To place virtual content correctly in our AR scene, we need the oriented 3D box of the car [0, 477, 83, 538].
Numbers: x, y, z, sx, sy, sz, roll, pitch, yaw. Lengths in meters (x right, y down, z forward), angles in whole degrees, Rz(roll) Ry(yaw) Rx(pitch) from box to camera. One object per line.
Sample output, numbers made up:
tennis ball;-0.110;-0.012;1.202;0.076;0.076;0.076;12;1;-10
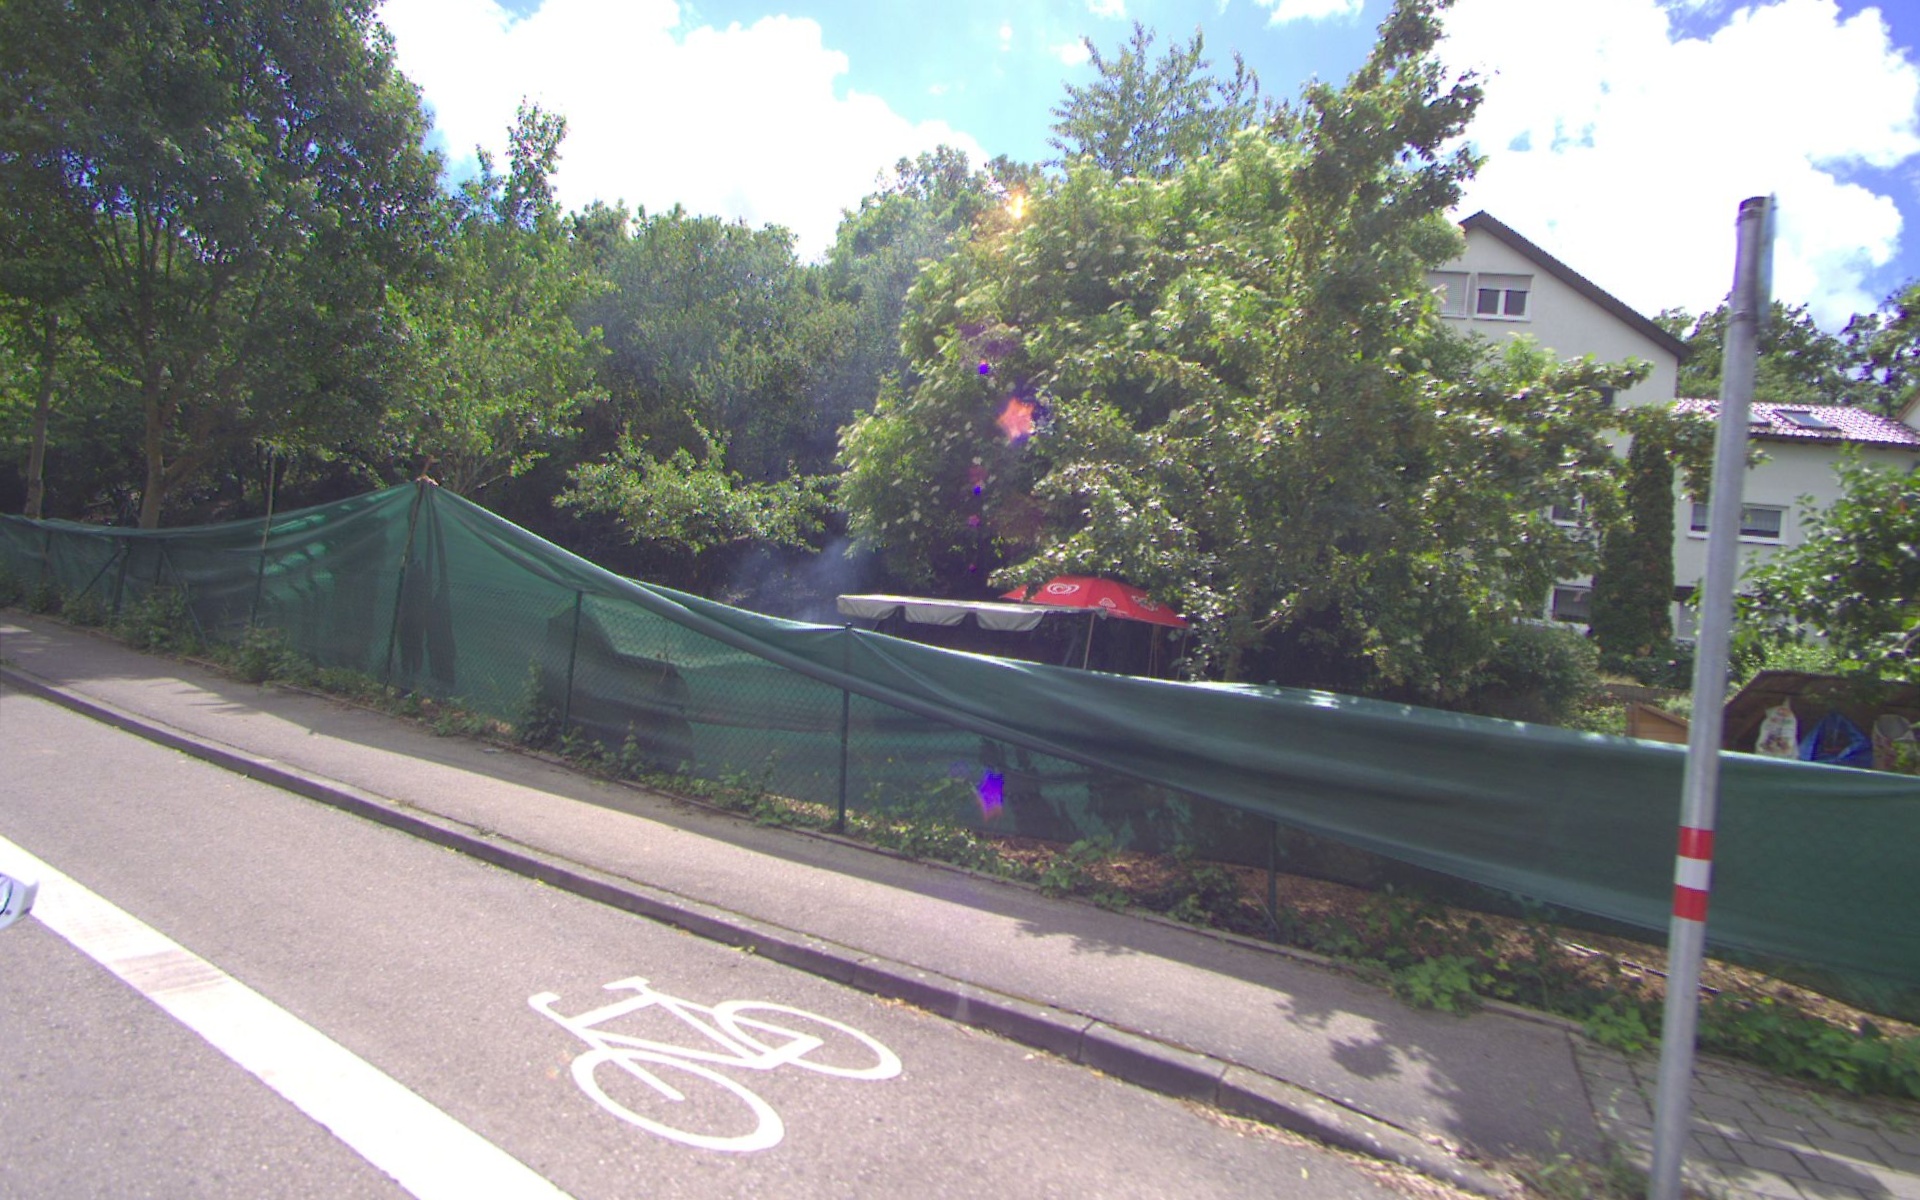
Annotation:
car;-30.222;-2.961;30.941;1.969;1.693;4.522;4;1;34
